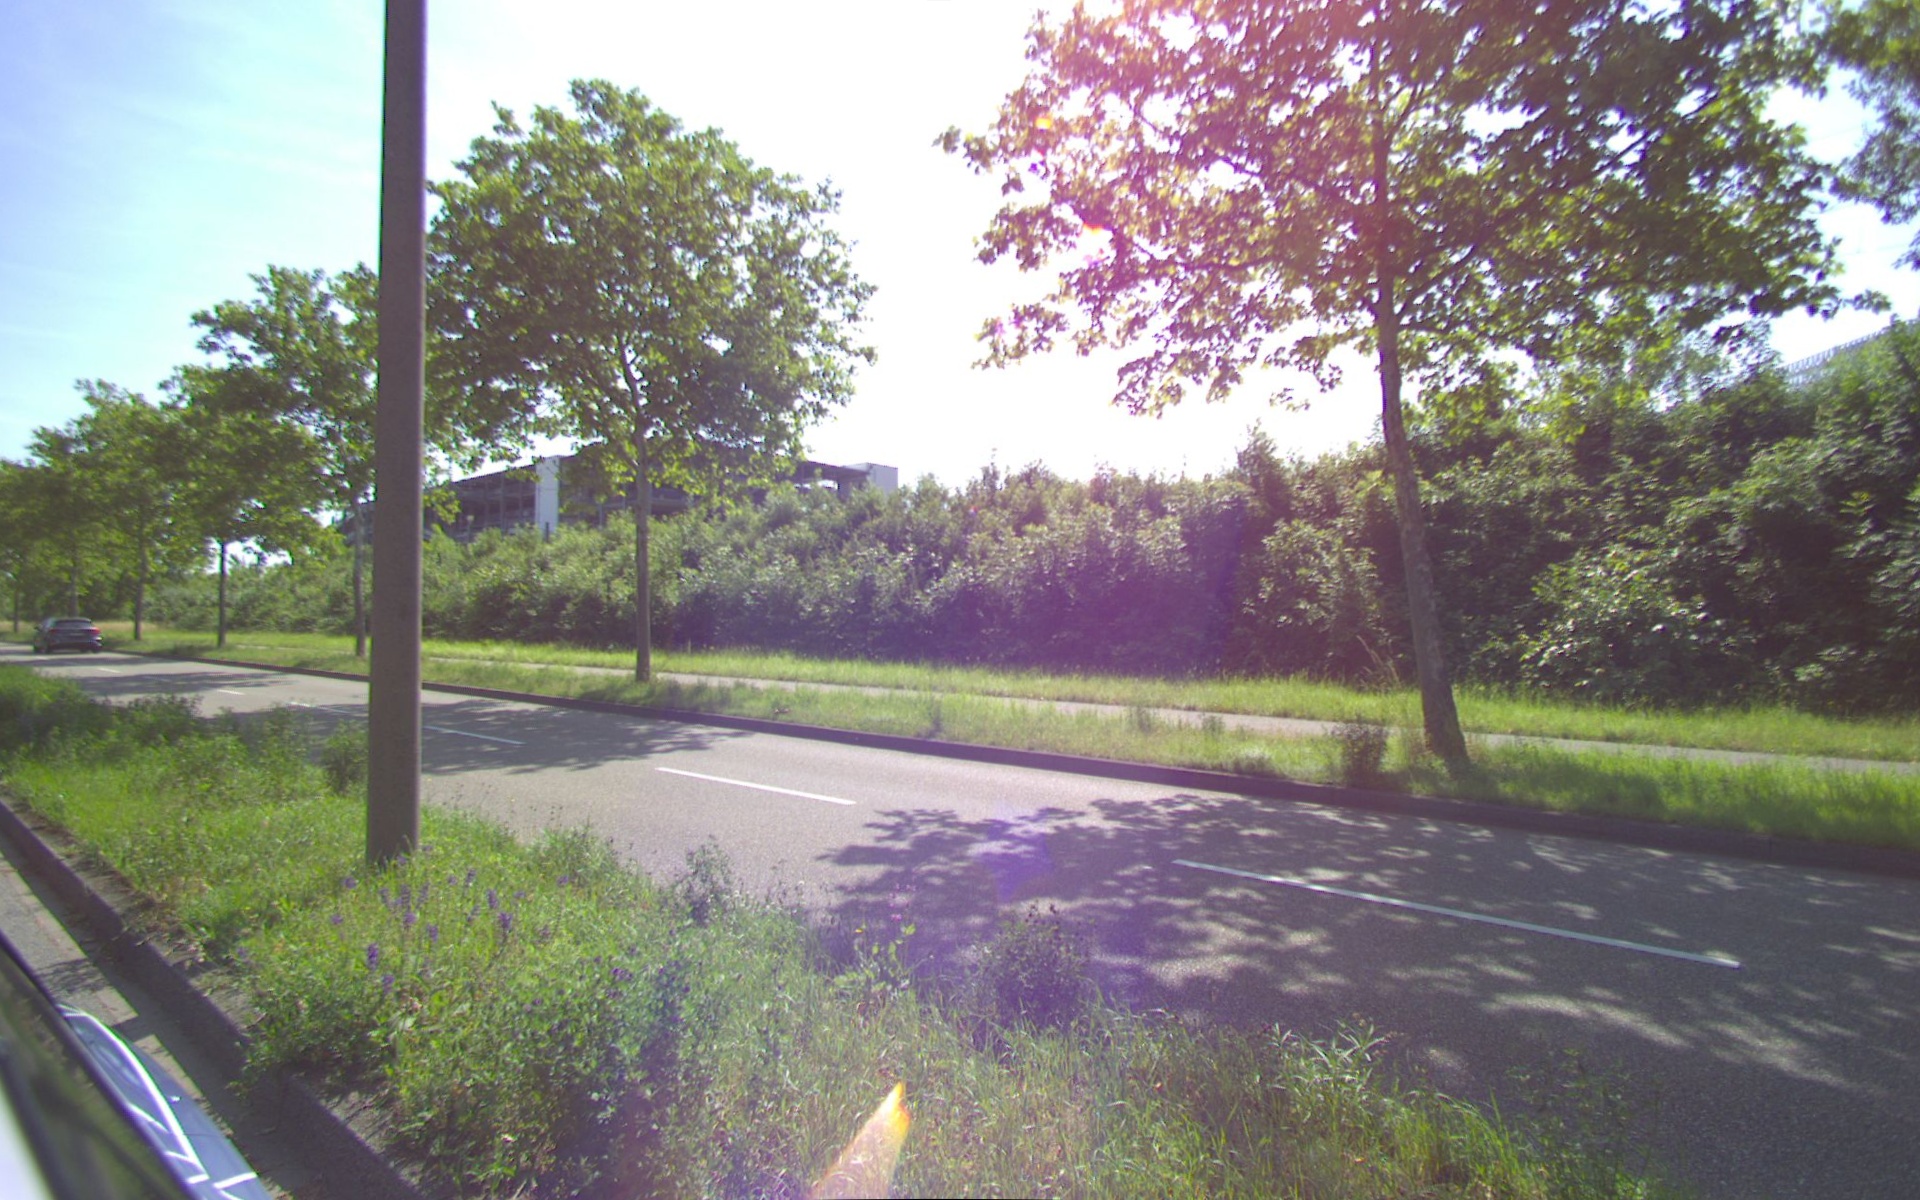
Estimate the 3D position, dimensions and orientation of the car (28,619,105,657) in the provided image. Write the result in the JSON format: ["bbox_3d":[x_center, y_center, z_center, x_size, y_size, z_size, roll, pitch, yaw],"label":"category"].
[{"bbox_3d":[-37.138,1.535,42.057,3.935,1.478,1.844,0,-1,40],"label":"car"}]
